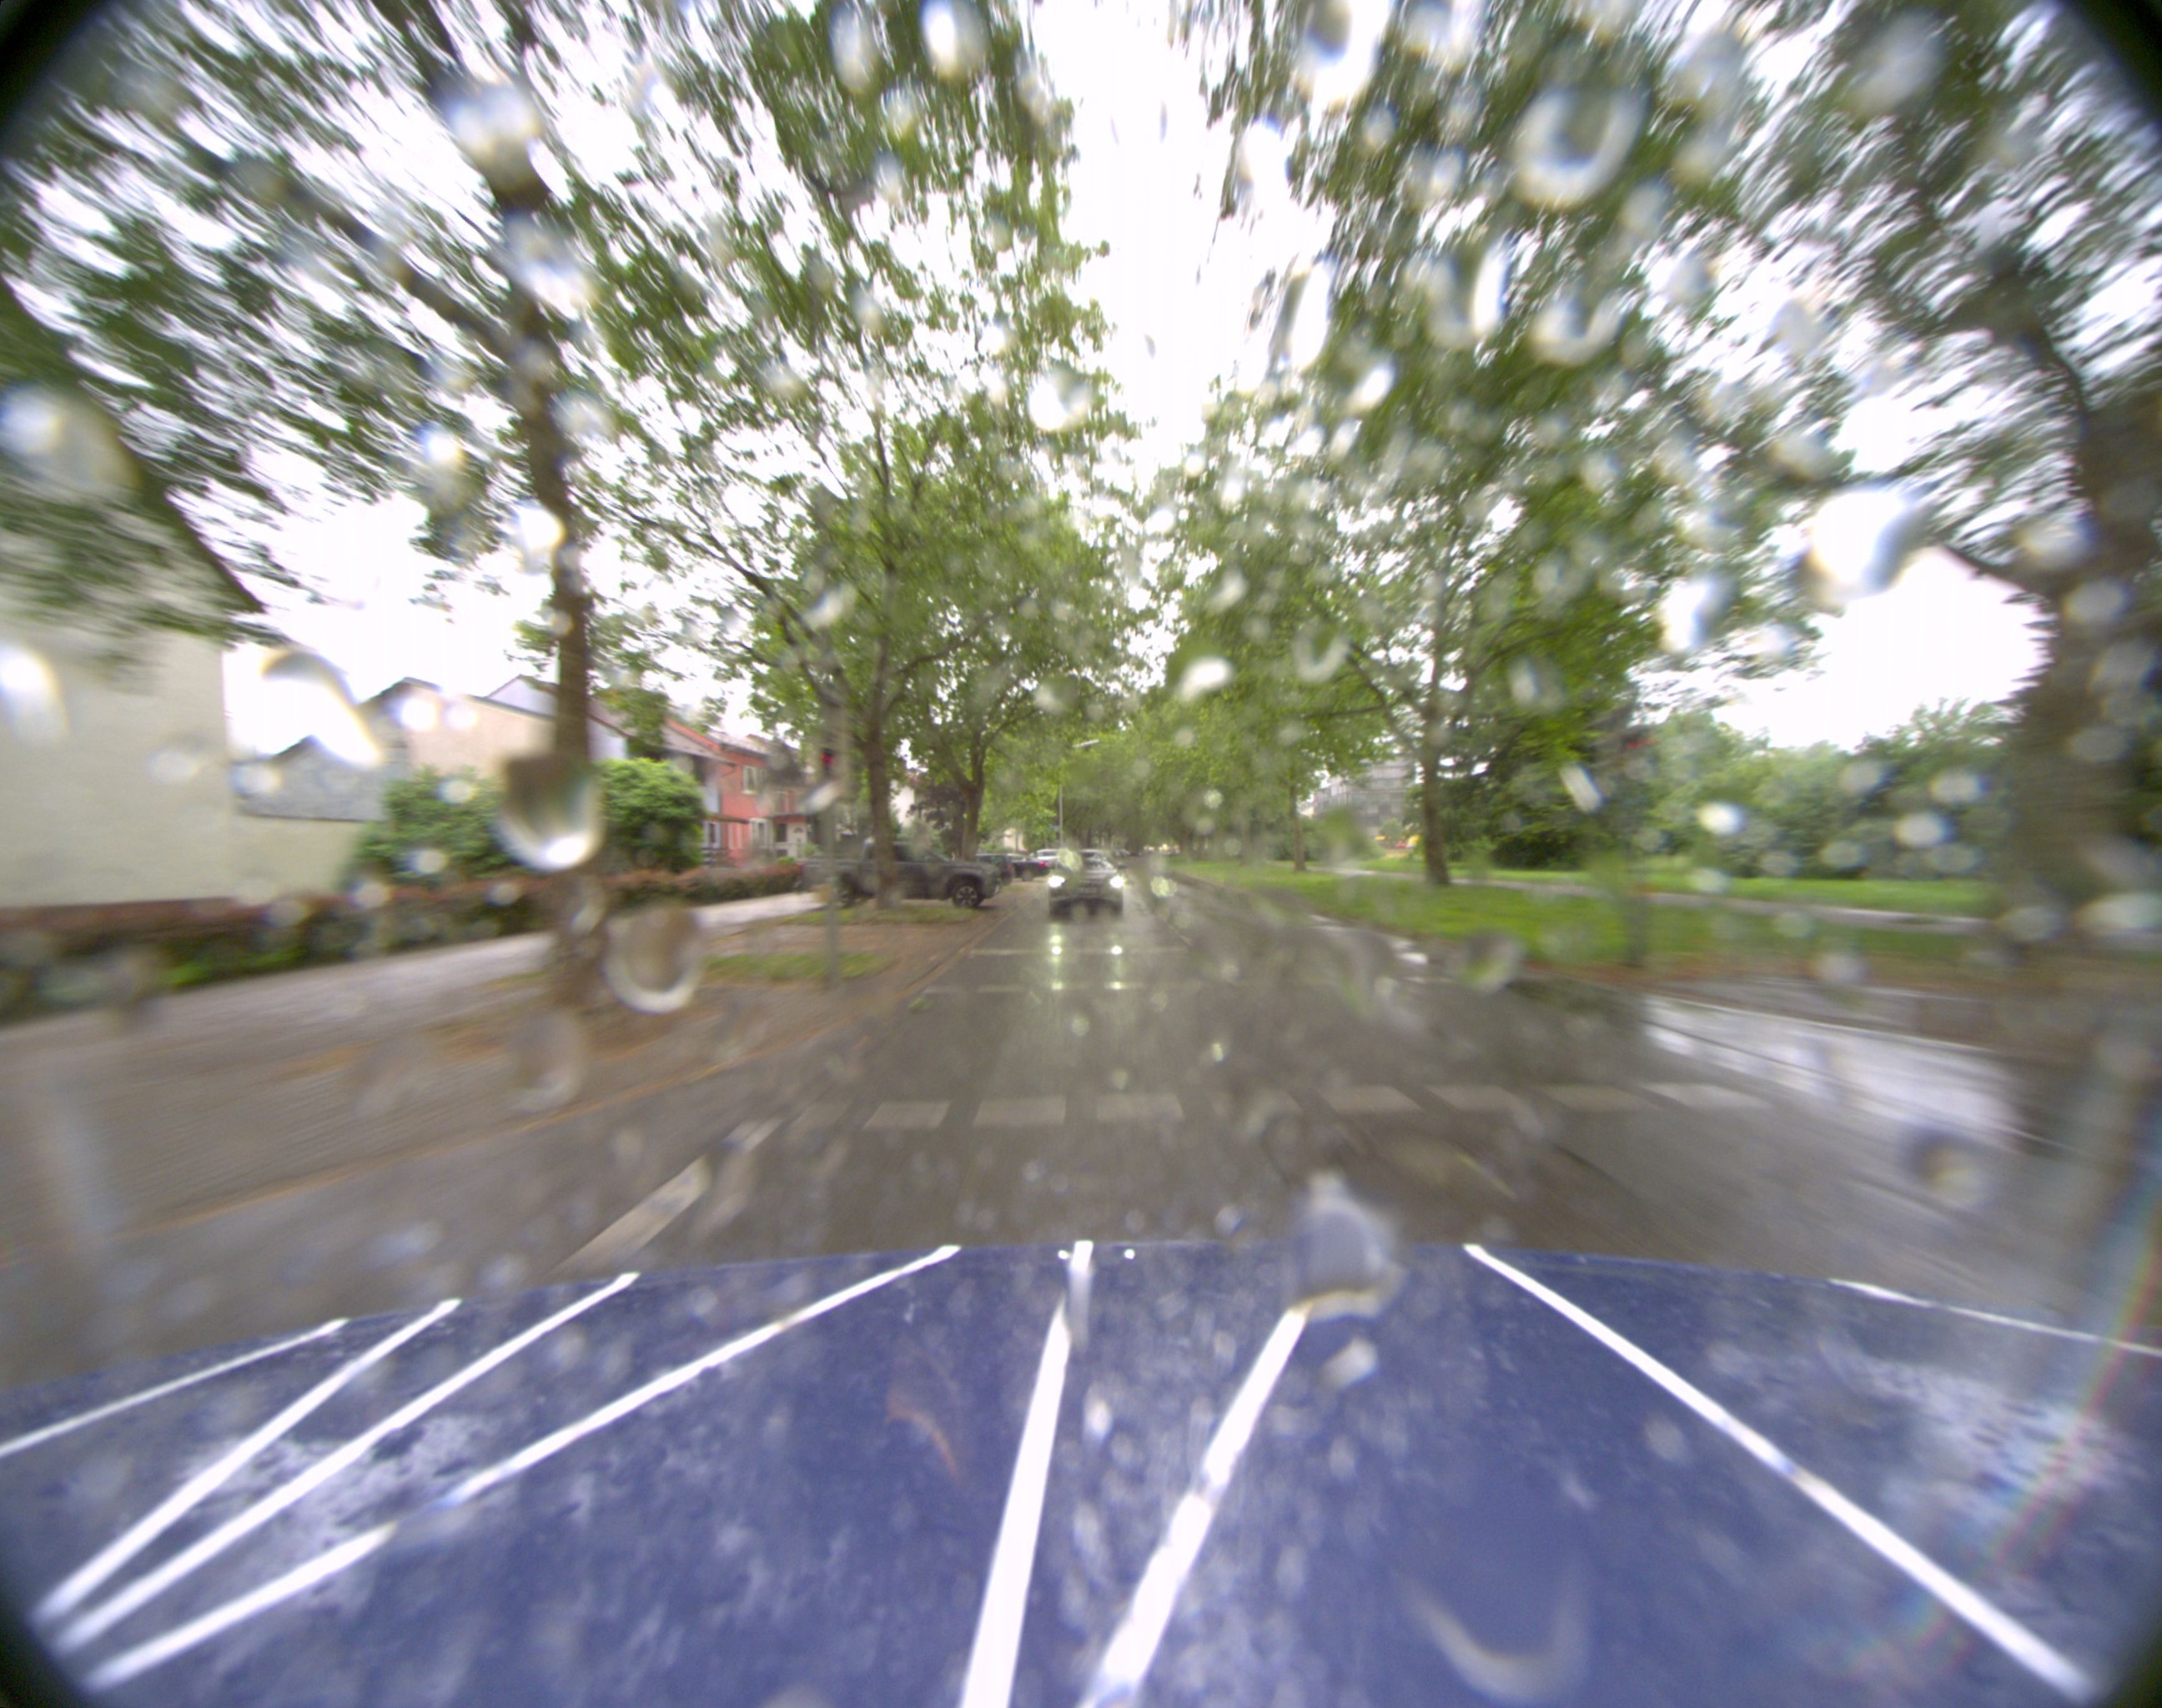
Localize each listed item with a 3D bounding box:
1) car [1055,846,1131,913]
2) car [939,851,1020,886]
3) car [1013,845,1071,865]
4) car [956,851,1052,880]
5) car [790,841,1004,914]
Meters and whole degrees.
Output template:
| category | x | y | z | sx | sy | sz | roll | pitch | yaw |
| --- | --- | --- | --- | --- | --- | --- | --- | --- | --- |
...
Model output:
| category | x | y | z | sx | sy | sz | roll | pitch | yaw |
| --- | --- | --- | --- | --- | --- | --- | --- | --- | --- |
| car | 0.428 | 0.611 | 20.732 | 1.862 | 1.608 | 4.424 | 0 | 0 | 3 |
| car | -4.499 | 0.631 | 34.054 | 3.363 | 1.455 | 1.619 | -1 | 1 | 2 |
| car | -3.185 | 0.058 | 63.276 | 4.700 | 1.651 | 1.976 | 0 | 1 | 1 |
| car | -3.912 | 0.579 | 39.181 | 4.778 | 1.464 | 1.937 | 0 | 1 | -1 |
| car | -4.844 | 0.601 | 20.648 | 5.353 | 1.796 | 1.844 | -1 | 1 | -4 |
